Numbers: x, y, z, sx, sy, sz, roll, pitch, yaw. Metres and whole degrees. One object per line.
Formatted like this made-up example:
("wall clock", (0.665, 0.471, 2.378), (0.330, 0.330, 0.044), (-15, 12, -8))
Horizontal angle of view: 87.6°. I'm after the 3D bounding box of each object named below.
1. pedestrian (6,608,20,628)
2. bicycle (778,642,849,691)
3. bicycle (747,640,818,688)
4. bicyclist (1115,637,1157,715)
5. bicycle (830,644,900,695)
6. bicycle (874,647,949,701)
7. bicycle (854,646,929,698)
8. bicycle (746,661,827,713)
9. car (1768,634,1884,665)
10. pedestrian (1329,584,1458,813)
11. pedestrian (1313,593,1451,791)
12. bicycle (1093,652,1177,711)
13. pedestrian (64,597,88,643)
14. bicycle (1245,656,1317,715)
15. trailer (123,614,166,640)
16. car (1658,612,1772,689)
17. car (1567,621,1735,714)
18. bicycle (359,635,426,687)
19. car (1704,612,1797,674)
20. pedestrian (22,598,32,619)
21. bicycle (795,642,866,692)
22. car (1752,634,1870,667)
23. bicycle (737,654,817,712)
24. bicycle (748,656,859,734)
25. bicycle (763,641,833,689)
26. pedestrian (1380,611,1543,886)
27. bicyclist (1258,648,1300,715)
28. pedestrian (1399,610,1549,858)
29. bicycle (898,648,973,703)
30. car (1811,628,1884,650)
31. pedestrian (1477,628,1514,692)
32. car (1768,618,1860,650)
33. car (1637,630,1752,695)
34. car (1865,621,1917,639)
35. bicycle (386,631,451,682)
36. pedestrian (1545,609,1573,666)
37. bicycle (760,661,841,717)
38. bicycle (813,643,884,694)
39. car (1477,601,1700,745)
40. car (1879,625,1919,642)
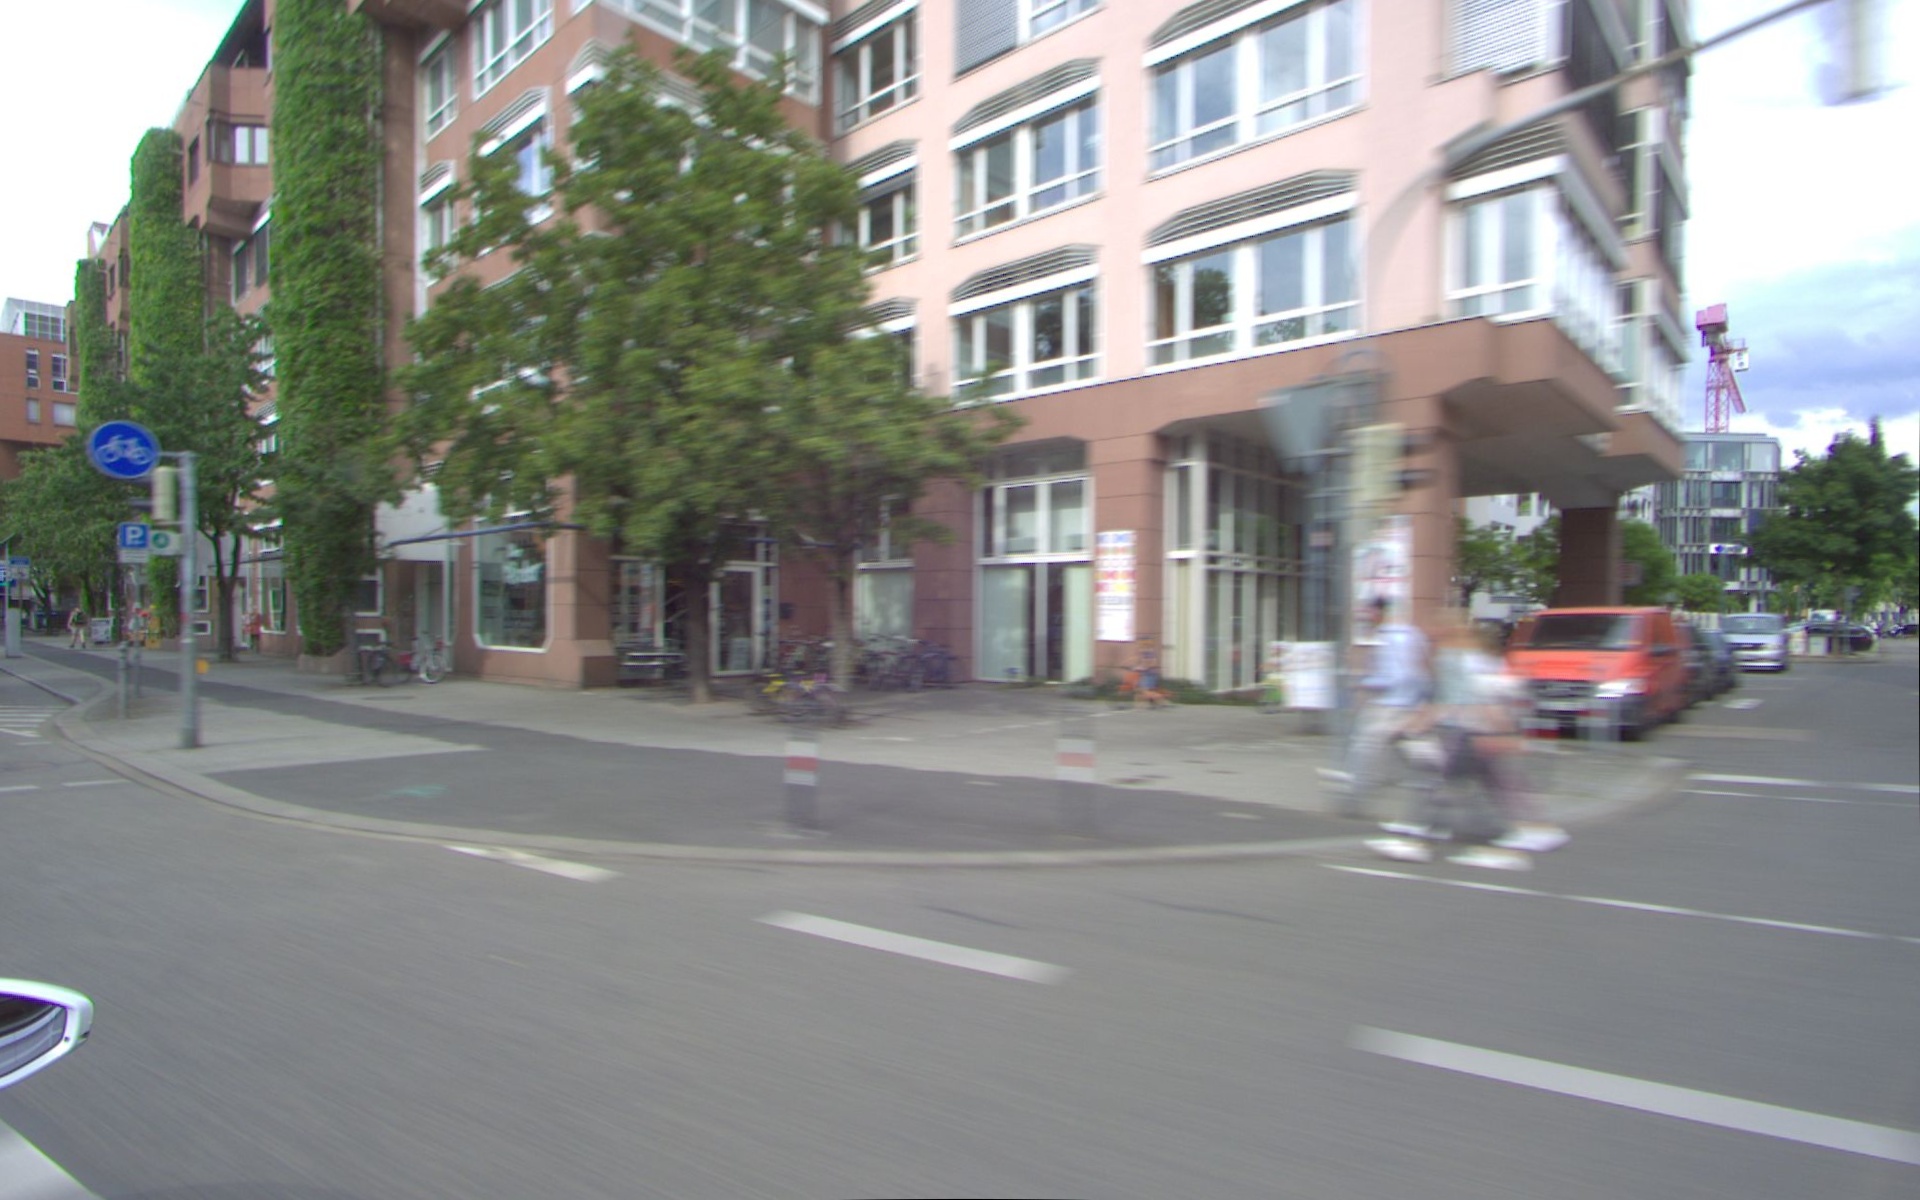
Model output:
("pedestrian", (-74.101, 1.426, 78.335), (0.719, 1.582, 0.666), (1, 0, 39))
("bicycle", (-3.262, 1.461, 22.398), (0.432, 1.021, 1.723), (1, 0, 38))
("bicycle", (-4.059, 1.451, 22.969), (0.466, 1.021, 1.723), (1, 0, 38))
("bicyclist", (2.932, 1.254, 16.665), (0.489, 1.261, 0.479), (1, 0, -21))
("bicycle", (-2.016, 1.474, 21.538), (0.419, 1.021, 1.723), (1, 0, 38))
("bicycle", (-0.980, 1.494, 20.612), (0.539, 1.021, 1.723), (1, 0, 38))
("bicycle", (-1.412, 1.485, 21.008), (0.539, 1.021, 1.723), (1, 0, 38))
("bicycle", (-2.946, 1.470, 17.071), (1.287, 0.824, 0.441), (1, 0, -36))
("car", (44.060, 2.490, 51.081), (4.264, 1.423, 1.825), (1, 0, 36))
("pedestrian", (3.725, 0.797, 8.606), (0.840, 1.852, 0.673), (1, 0, 39))
("pedestrian", (3.907, 0.806, 9.292), (1.009, 1.723, 0.649), (1, 0, 40))
("bicycle", (2.915, 1.349, 16.669), (1.298, 0.927, 0.474), (1, 0, -21))
("pedestrian", (-36.219, 0.810, 41.022), (0.774, 1.883, 0.643), (1, 0, 42))
("bicycle", (5.411, 1.428, 16.869), (1.266, 0.927, 0.450), (1, 0, -33))
("trailer", (-35.258, 1.157, 43.308), (0.978, 1.073, 1.604), (1, 0, -22))
("car", (21.004, 1.345, 27.791), (1.965, 1.925, 4.644), (1, 0, 44))
("car", (13.693, 1.247, 19.720), (1.979, 1.610, 4.800), (-2, -2, 44))
("bicycle", (-12.074, 1.276, 21.276), (1.713, 1.022, 0.615), (1, 0, 38))
("car", (26.437, 1.394, 33.431), (1.965, 1.925, 4.644), (1, -1, 44))
("pedestrian", (-72.853, 0.667, 78.184), (0.608, 1.582, 0.542), (1, 0, 43))
("bicycle", (-2.838, 1.465, 22.116), (0.465, 1.021, 1.723), (1, 0, 38))
("car", (41.881, 2.451, 49.400), (4.263, 1.423, 1.825), (1, 0, 36))
("bicycle", (-3.188, 1.433, 17.492), (1.286, 0.880, 0.450), (-2, 2, -36))
("bicycle", (-2.361, 1.395, 15.029), (1.712, 1.022, 0.615), (1, 0, 37))
("bicycle", (-3.660, 1.459, 22.695), (0.425, 1.021, 1.723), (1, 0, 38))
("pedestrian", (3.244, 0.903, 6.488), (0.839, 1.637, 0.515), (1, 0, 37))
("bicyclist", (5.363, 1.365, 16.838), (0.491, 1.079, 0.432), (1, 0, -33))
("pedestrian", (3.657, 0.901, 7.131), (0.840, 1.637, 0.515), (1, 0, 39))
("bicycle", (-0.482, 1.502, 20.275), (0.539, 1.021, 1.723), (1, 0, 38))
("car", (67.462, 2.919, 76.190), (3.947, 1.524, 1.717), (1, 0, 37))
("pedestrian", (12.325, 1.367, 23.047), (0.612, 1.432, 0.647), (1, 0, 41))
("car", (50.448, 1.988, 59.255), (3.947, 1.790, 1.717), (1, 0, 37))
("car", (17.569, 1.421, 23.884), (1.708, 1.423, 3.945), (-1, -2, 44))
("car", (90.017, 2.897, 96.856), (3.360, 1.595, 1.647), (0, 0, 32))
("bicycle", (-11.855, 1.217, 21.902), (1.713, 1.022, 0.615), (1, 0, 38))
("pedestrian", (20.656, 1.290, 34.539), (0.613, 1.930, 0.646), (1, 0, -43))
("bicycle", (-2.635, 1.456, 16.595), (1.289, 0.849, 0.450), (2, 0, -41))
("bicycle", (-2.411, 1.470, 21.817), (0.472, 1.021, 1.723), (1, 0, 38))
("car", (9.726, 1.016, 15.311), (1.979, 1.849, 4.800), (-1, -2, 44))
("car", (89.673, 3.210, 94.495), (3.938, 1.524, 1.722), (1, 0, 28))
